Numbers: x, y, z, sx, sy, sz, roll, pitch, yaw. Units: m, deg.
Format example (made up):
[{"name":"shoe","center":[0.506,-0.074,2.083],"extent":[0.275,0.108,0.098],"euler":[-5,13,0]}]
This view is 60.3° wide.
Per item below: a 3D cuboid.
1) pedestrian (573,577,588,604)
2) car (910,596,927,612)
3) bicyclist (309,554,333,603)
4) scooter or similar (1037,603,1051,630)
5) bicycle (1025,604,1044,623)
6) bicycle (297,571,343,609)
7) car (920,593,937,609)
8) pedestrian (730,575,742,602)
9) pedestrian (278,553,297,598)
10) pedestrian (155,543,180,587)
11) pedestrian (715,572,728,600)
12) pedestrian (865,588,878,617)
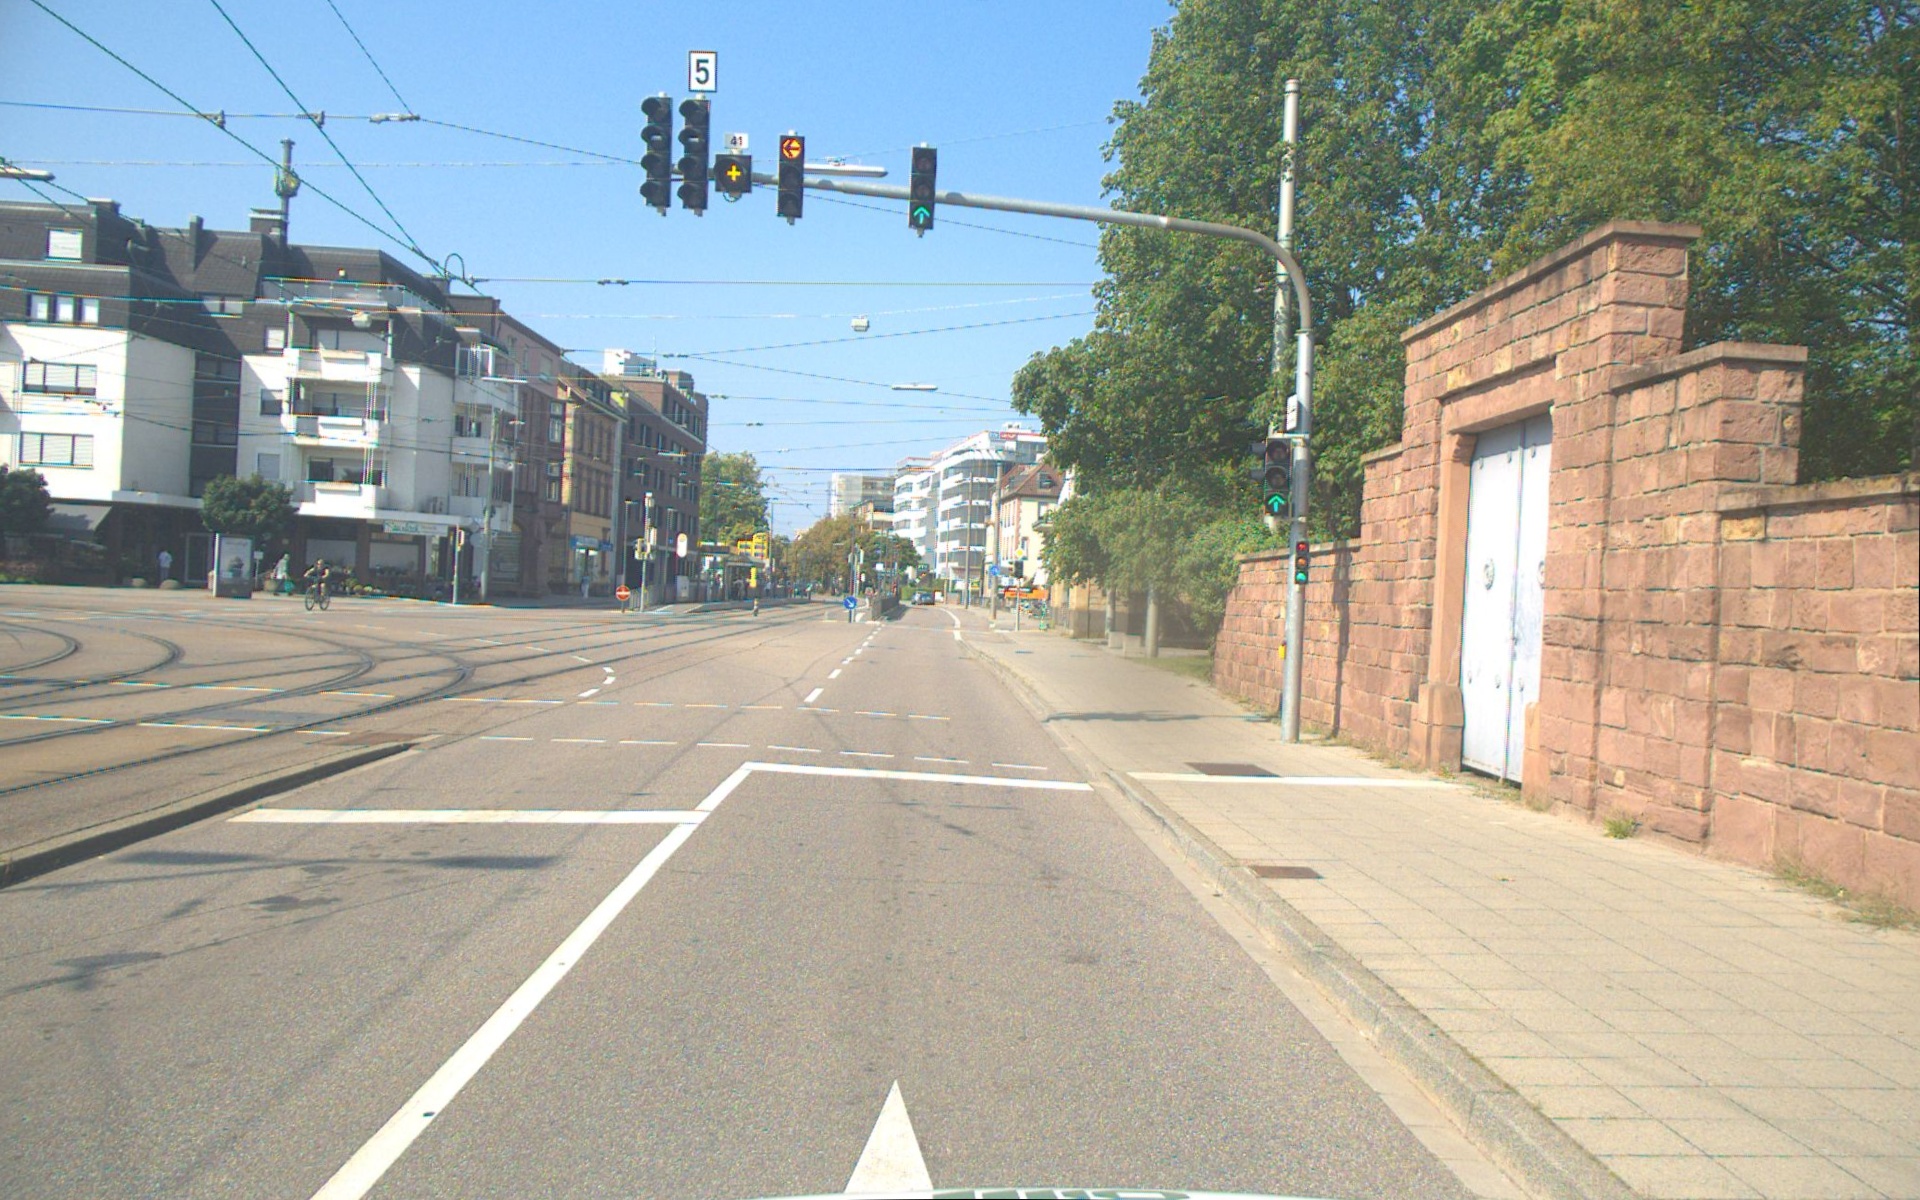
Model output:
[{"name":"pedestrian","center":[-23.050,-0.597,100.540],"extent":[0.473,1.587,0.888],"euler":[3,-1,10]},{"name":"car","center":[-5.015,0.507,200.572],"extent":[1.970,1.891,4.000],"euler":[1,0,0]},{"name":"bicyclist","center":[-20.439,-0.699,52.907],"extent":[0.556,1.549,0.490],"euler":[1,0,0]},{"name":"scooter or similar","center":[3.727,0.710,73.080],"extent":[0.512,1.153,1.511],"euler":[1,0,-1]},{"name":"bicycle","center":[4.719,0.852,105.272],"extent":[0.717,1.152,2.834],"euler":[-1,0,-8]},{"name":"bicycle","center":[-20.447,-0.318,52.880],"extent":[0.563,1.200,2.208],"euler":[1,0,1]},{"name":"car","center":[-3.706,0.124,194.423],"extent":[1.970,1.891,4.000],"euler":[1,0,0]},{"name":"pedestrian","center":[-14.996,-0.744,110.889],"extent":[0.693,1.778,0.799],"euler":[1,0,-1]},{"name":"pedestrian","center":[-26.947,-0.972,66.289],"extent":[0.593,1.776,0.559],"euler":[1,0,-35]},{"name":"pedestrian","center":[-32.547,-1.443,67.954],"extent":[0.665,1.771,0.698],"euler":[1,0,0]},{"name":"pedestrian","center":[-14.865,-0.869,103.054],"extent":[0.693,1.753,0.799],"euler":[1,0,-1]},{"name":"pedestrian","center":[-5.399,0.158,100.739],"extent":[0.705,1.733,0.884],"euler":[1,0,0]}]
